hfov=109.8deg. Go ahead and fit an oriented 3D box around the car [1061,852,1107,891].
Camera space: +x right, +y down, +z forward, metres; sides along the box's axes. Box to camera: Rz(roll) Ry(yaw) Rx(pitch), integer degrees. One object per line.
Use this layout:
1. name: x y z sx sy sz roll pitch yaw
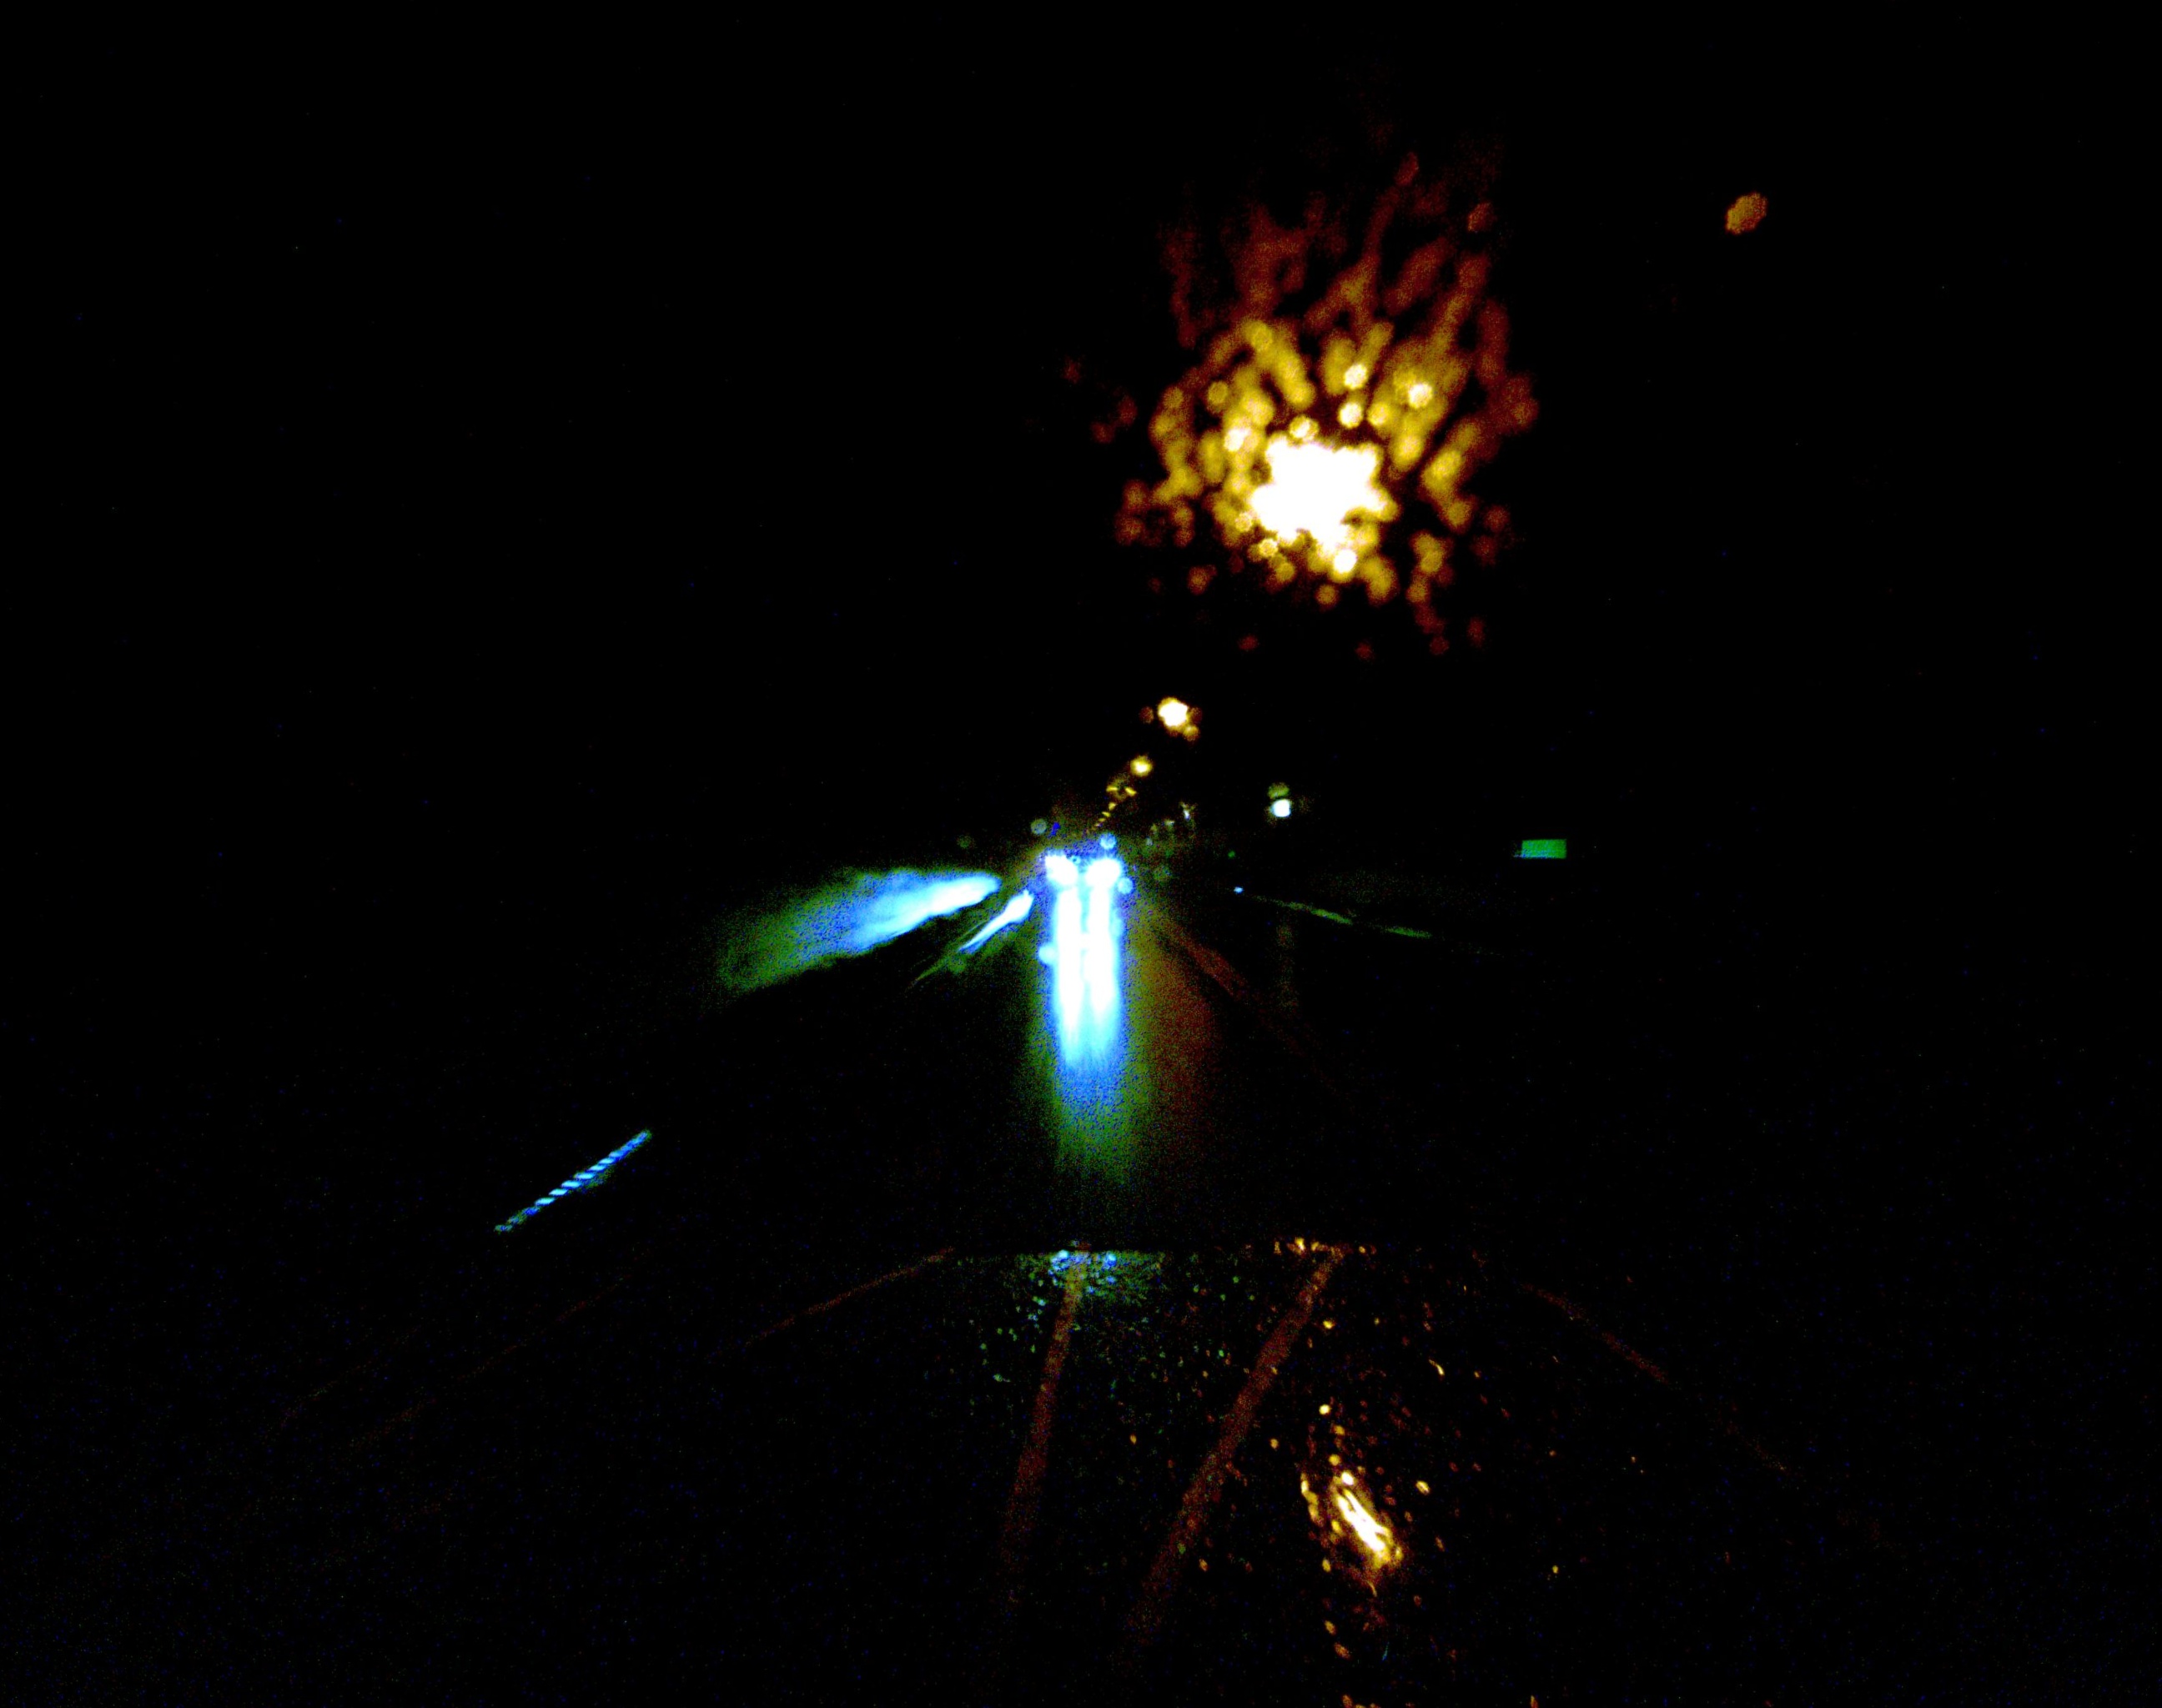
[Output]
1. car: 0.090 0.760 35.696 1.999 1.547 3.998 -2 2 -2
